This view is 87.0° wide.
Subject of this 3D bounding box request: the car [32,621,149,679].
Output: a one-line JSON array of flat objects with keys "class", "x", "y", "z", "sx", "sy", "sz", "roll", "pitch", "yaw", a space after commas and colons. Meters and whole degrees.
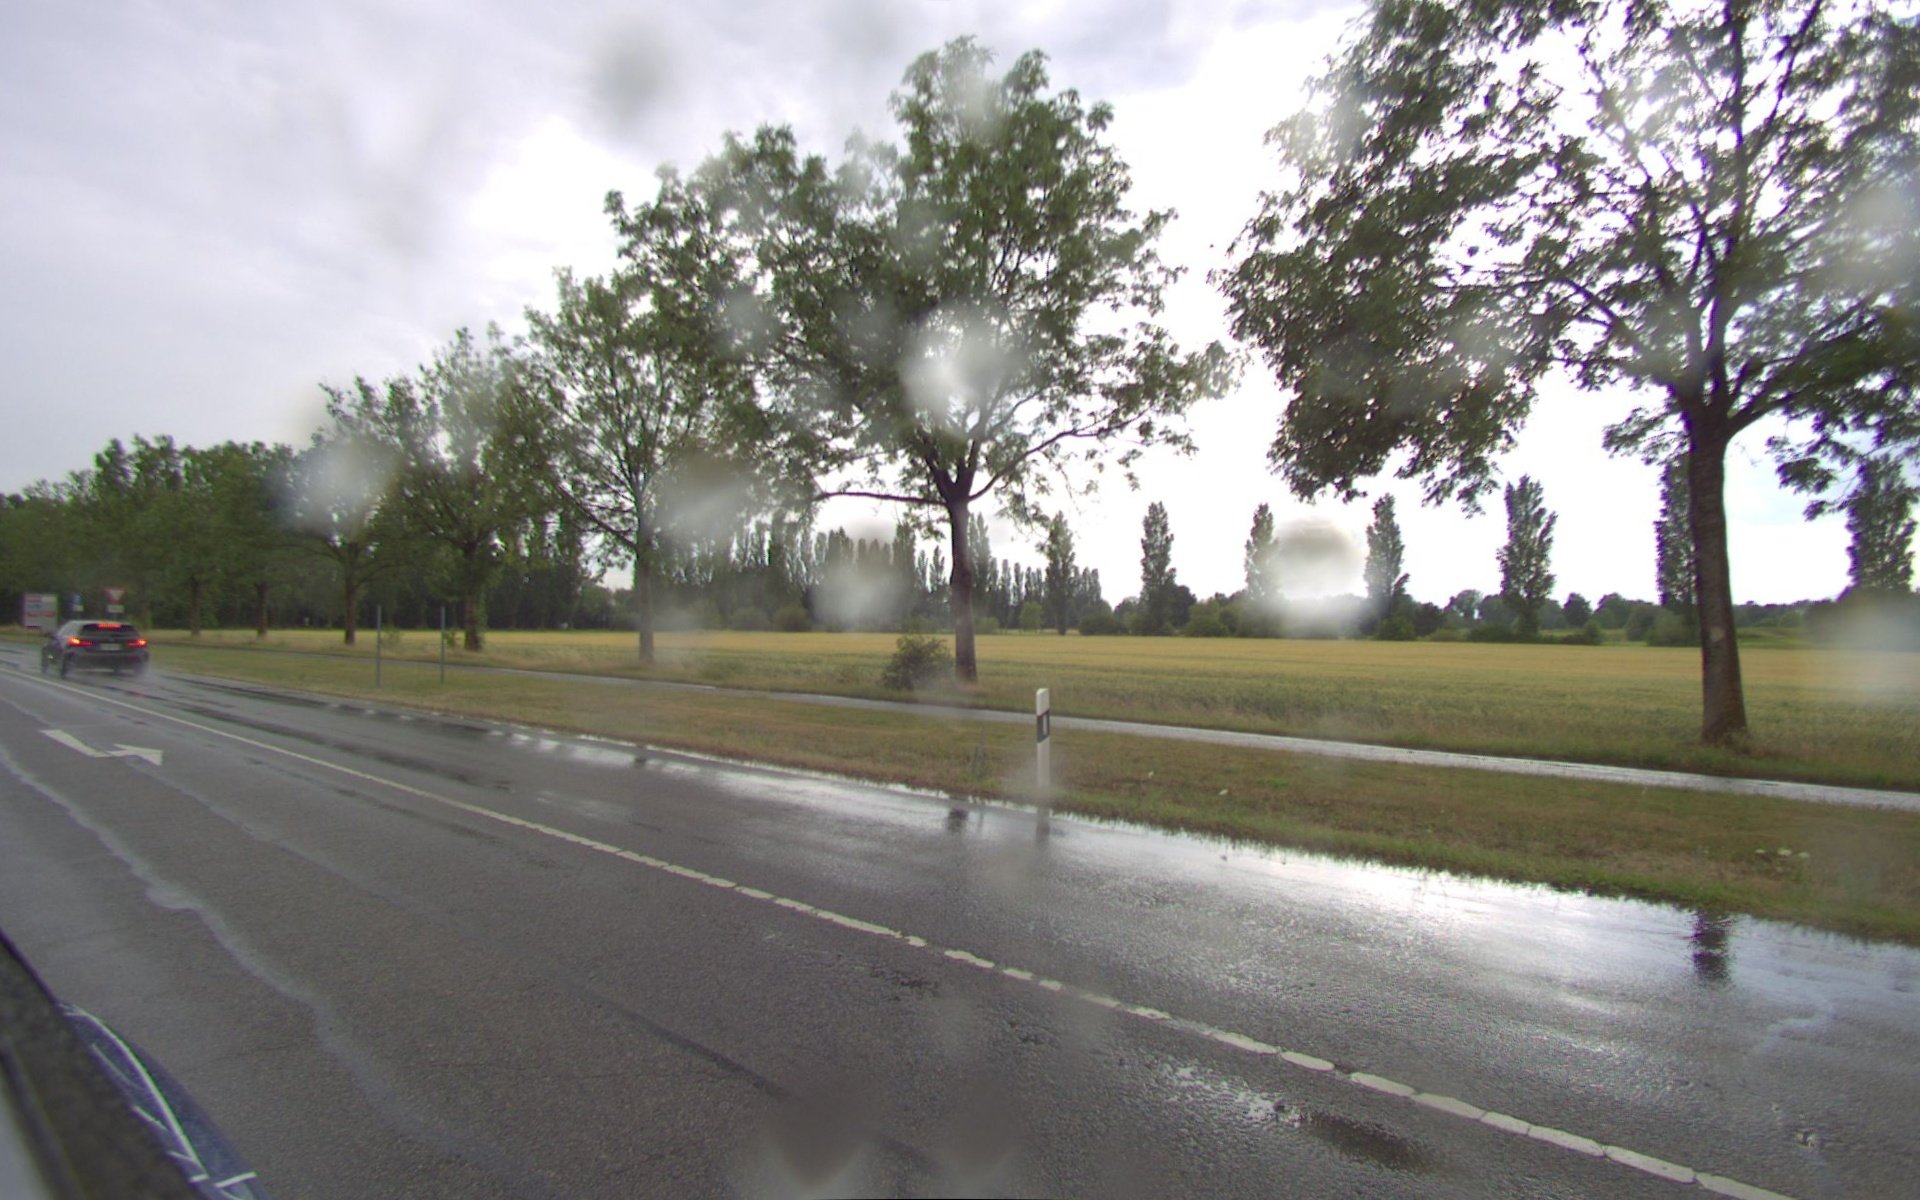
[{"class": "car", "x": -23.195, "y": 1.305, "z": 26.954, "sx": 4.041, "sy": 1.415, "sz": 1.702, "roll": -1, "pitch": -4, "yaw": 41}]
